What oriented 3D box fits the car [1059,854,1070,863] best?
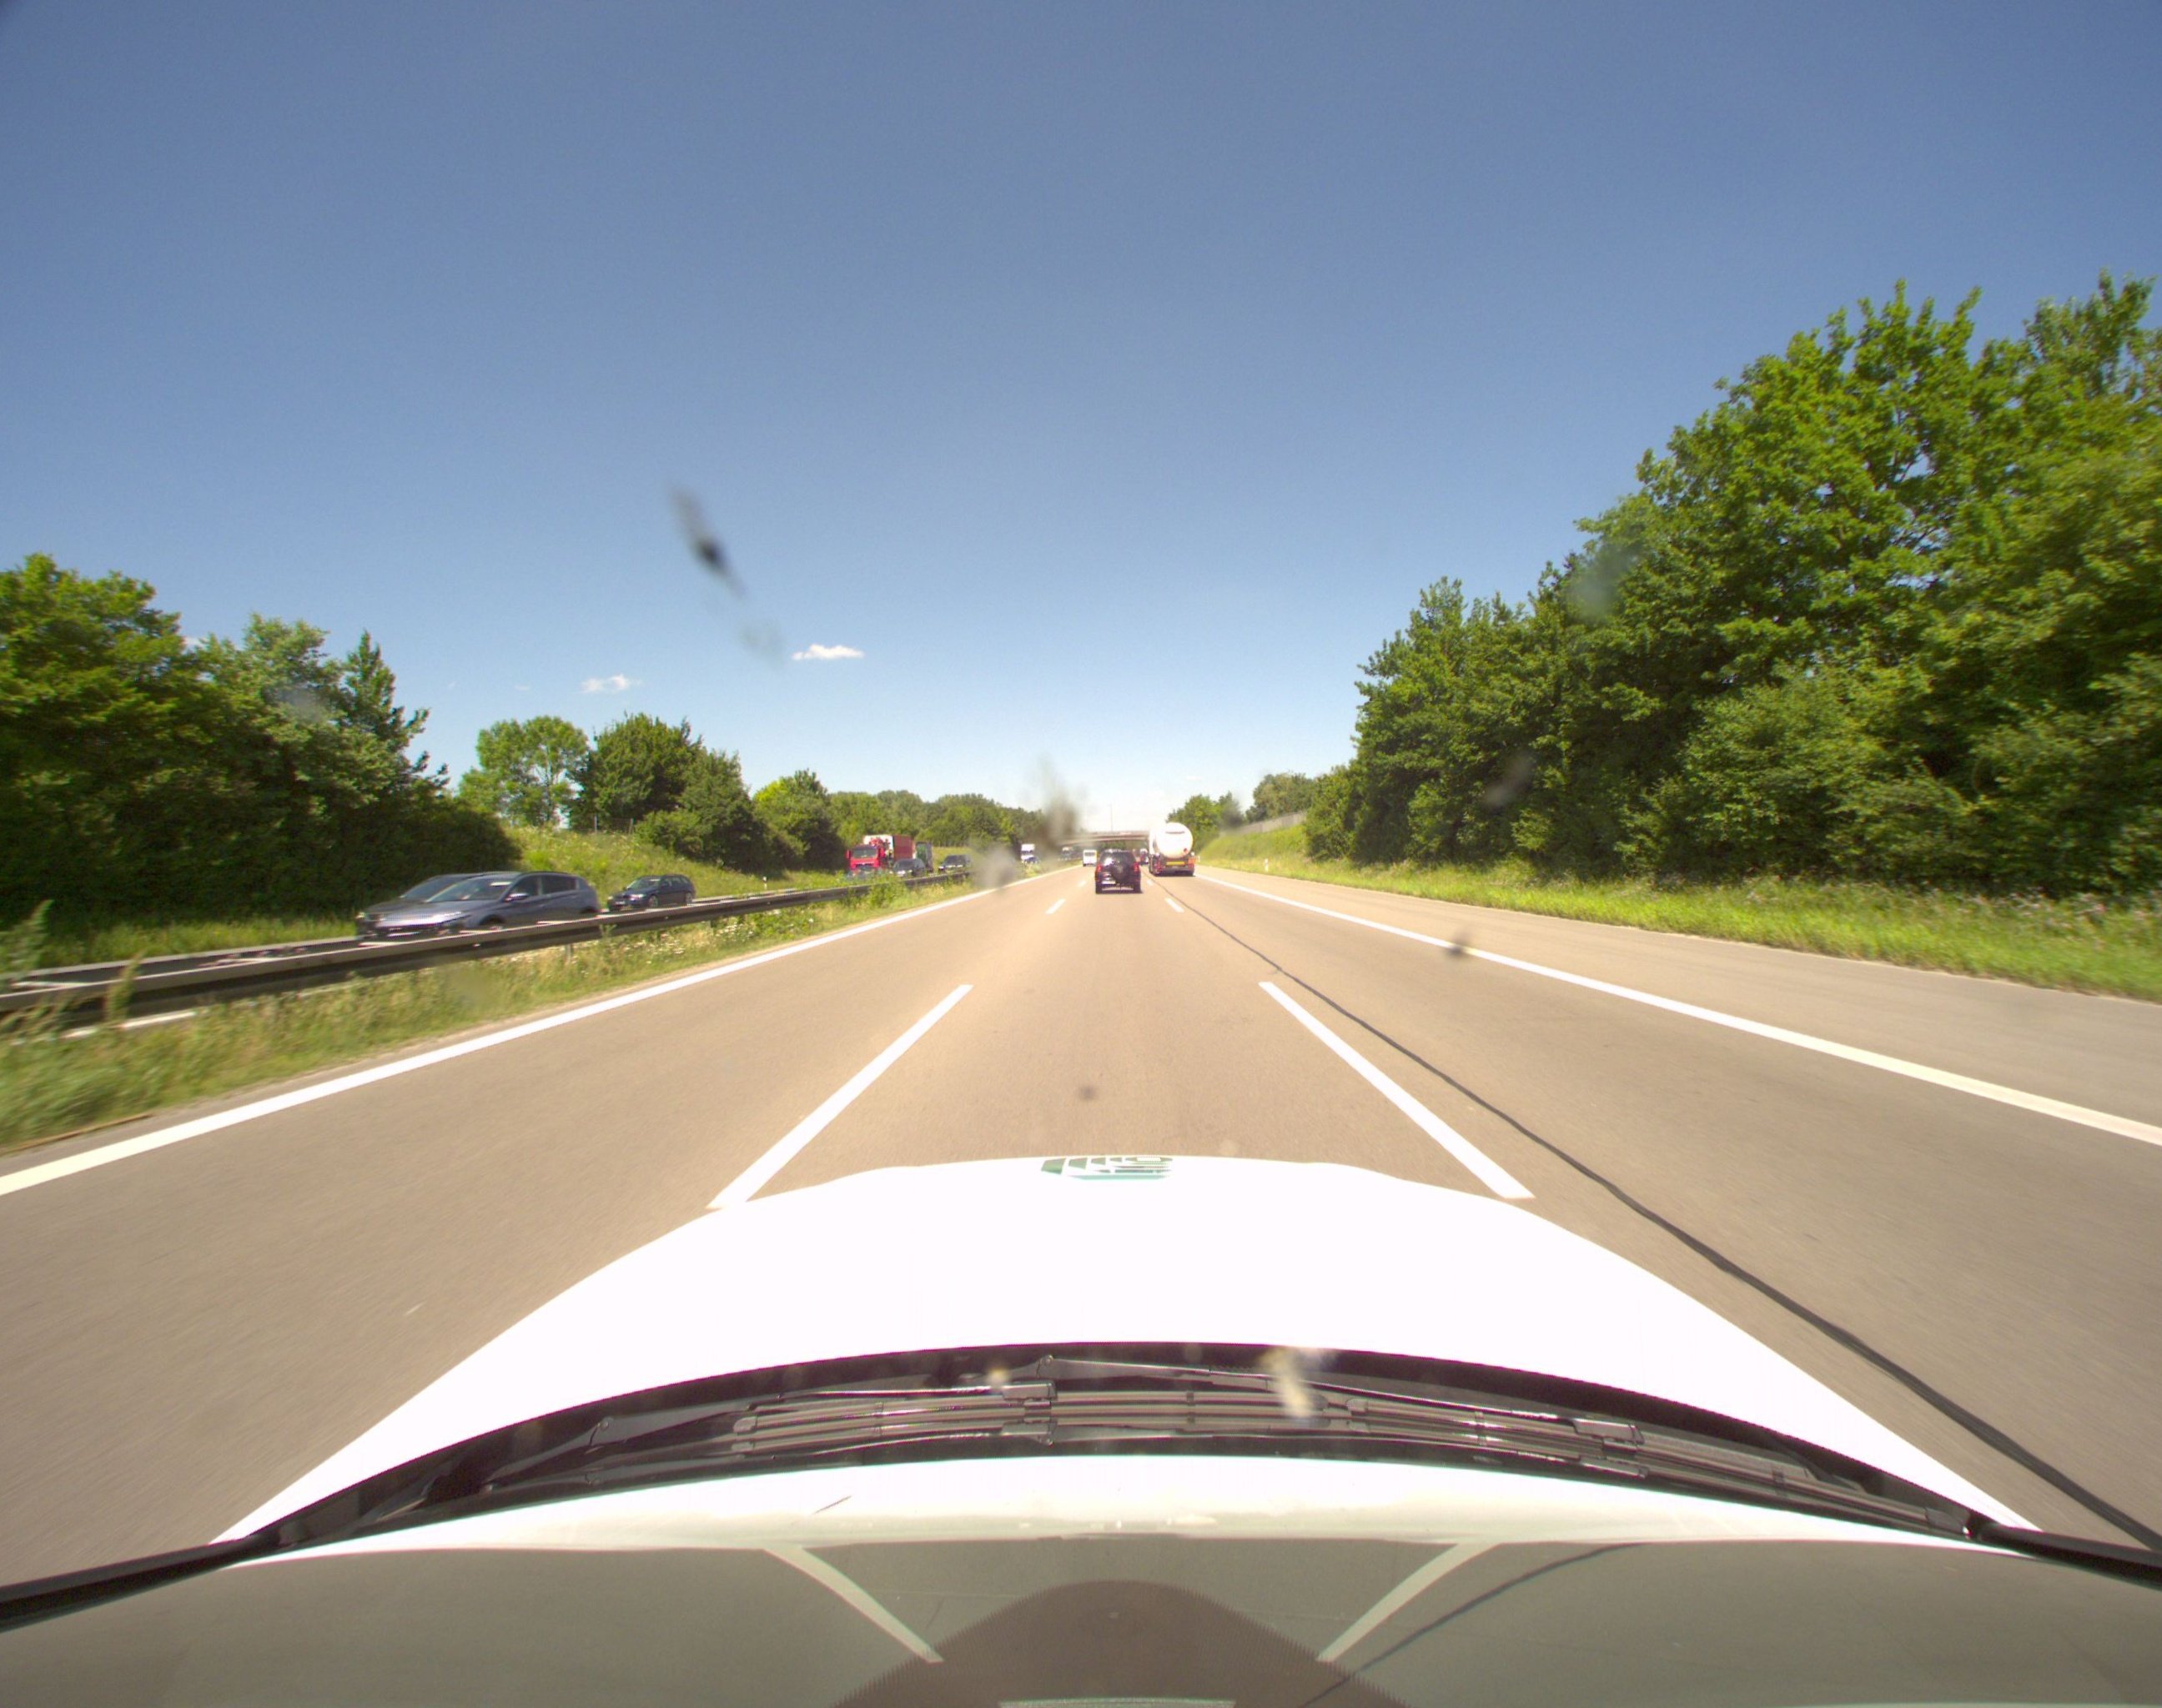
[{"bbox_3d":[-3.165,0.840,159.120,1.851,1.600,4.723,-2,0,2],"label":"car"}]

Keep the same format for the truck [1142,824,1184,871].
[{"bbox_3d":[6.267,-0.487,62.961,2.629,3.374,6.487,-1,0,0],"label":"truck"}]

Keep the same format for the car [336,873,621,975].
[{"bbox_3d":[-11.089,1.197,15.484,1.946,1.483,4.349,-2,0,3],"label":"car"}]

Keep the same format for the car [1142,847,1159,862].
[{"bbox_3d":[8.349,0.135,98.147,1.985,1.684,4.004,-2,-1,4],"label":"car"}]

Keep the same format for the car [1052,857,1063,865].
[{"bbox_3d":[-5.399,1.587,184.640,1.985,1.779,4.265,-2,0,4],"label":"car"}]

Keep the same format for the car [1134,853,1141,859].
[{"bbox_3d":[17.703,0.716,255.656,1.805,1.746,4.003,-2,0,2],"label":"car"}]

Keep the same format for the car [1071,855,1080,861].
[{"bbox_3d":[-1.256,0.888,188.755,1.866,1.439,5.022,-2,0,3],"label":"car"}]

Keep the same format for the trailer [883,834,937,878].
[{"bbox_3d":[-15.712,0.166,75.357,2.668,3.769,8.412,-3,0,2],"label":"trailer"}]

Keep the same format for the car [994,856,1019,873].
[{"bbox_3d":[-7.633,1.054,84.051,1.825,1.565,4.960,-2,0,3],"label":"car"}]

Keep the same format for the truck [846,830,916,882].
[{"bbox_3d":[-16.112,0.155,66.451,2.668,3.769,9.925,-3,0,2],"label":"truck"}]

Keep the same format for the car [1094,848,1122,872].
[{"bbox_3d":[2.081,0.460,62.506,1.986,1.706,4.337,-3,0,2],"label":"car"}]

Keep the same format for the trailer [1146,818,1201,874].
[{"bbox_3d":[6.180,-0.480,56.055,2.639,3.390,11.153,-1,0,1],"label":"trailer"}]

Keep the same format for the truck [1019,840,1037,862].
[{"bbox_3d":[-10.695,-0.581,165.790,2.661,4.078,6.080,-4,0,3],"label":"truck"}]

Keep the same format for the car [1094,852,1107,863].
[{"bbox_3d":[2.996,0.531,125.532,1.986,1.552,4.000,-2,-1,1],"label":"car"}]

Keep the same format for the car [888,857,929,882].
[{"bbox_3d":[-12.731,1.109,60.389,1.986,1.690,4.266,-2,0,1],"label":"car"}]

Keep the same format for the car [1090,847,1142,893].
[{"bbox_3d":[1.415,0.623,32.475,1.898,1.665,4.003,-2,0,3],"label":"car"}]

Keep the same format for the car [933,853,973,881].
[{"bbox_3d":[-9.222,0.908,59.137,1.986,1.865,4.899,-2,0,1],"label":"car"}]

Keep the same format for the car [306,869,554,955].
[{"bbox_3d":[-14.957,1.237,19.148,1.986,1.629,4.577,-2,0,2],"label":"car"}]

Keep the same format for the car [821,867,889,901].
[{"bbox_3d":[-10.082,1.323,36.631,1.661,1.317,4.123,-2,0,3],"label":"car"}]

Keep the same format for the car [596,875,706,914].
[{"bbox_3d":[-17.906,1.631,34.230,1.740,1.297,5.064,-2,0,2],"label":"car"}]

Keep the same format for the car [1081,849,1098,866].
[{"bbox_3d":[1.088,0.469,102.912,1.986,2.013,4.952,-3,0,2],"label":"car"}]

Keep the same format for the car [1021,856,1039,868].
[{"bbox_3d":[-6.995,1.079,112.736,1.888,1.427,4.766,-5,0,2],"label":"car"}]

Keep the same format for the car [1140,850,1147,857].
[{"bbox_3d":[17.692,-0.134,230.558,1.805,1.746,4.003,-2,0,2],"label":"car"}]
